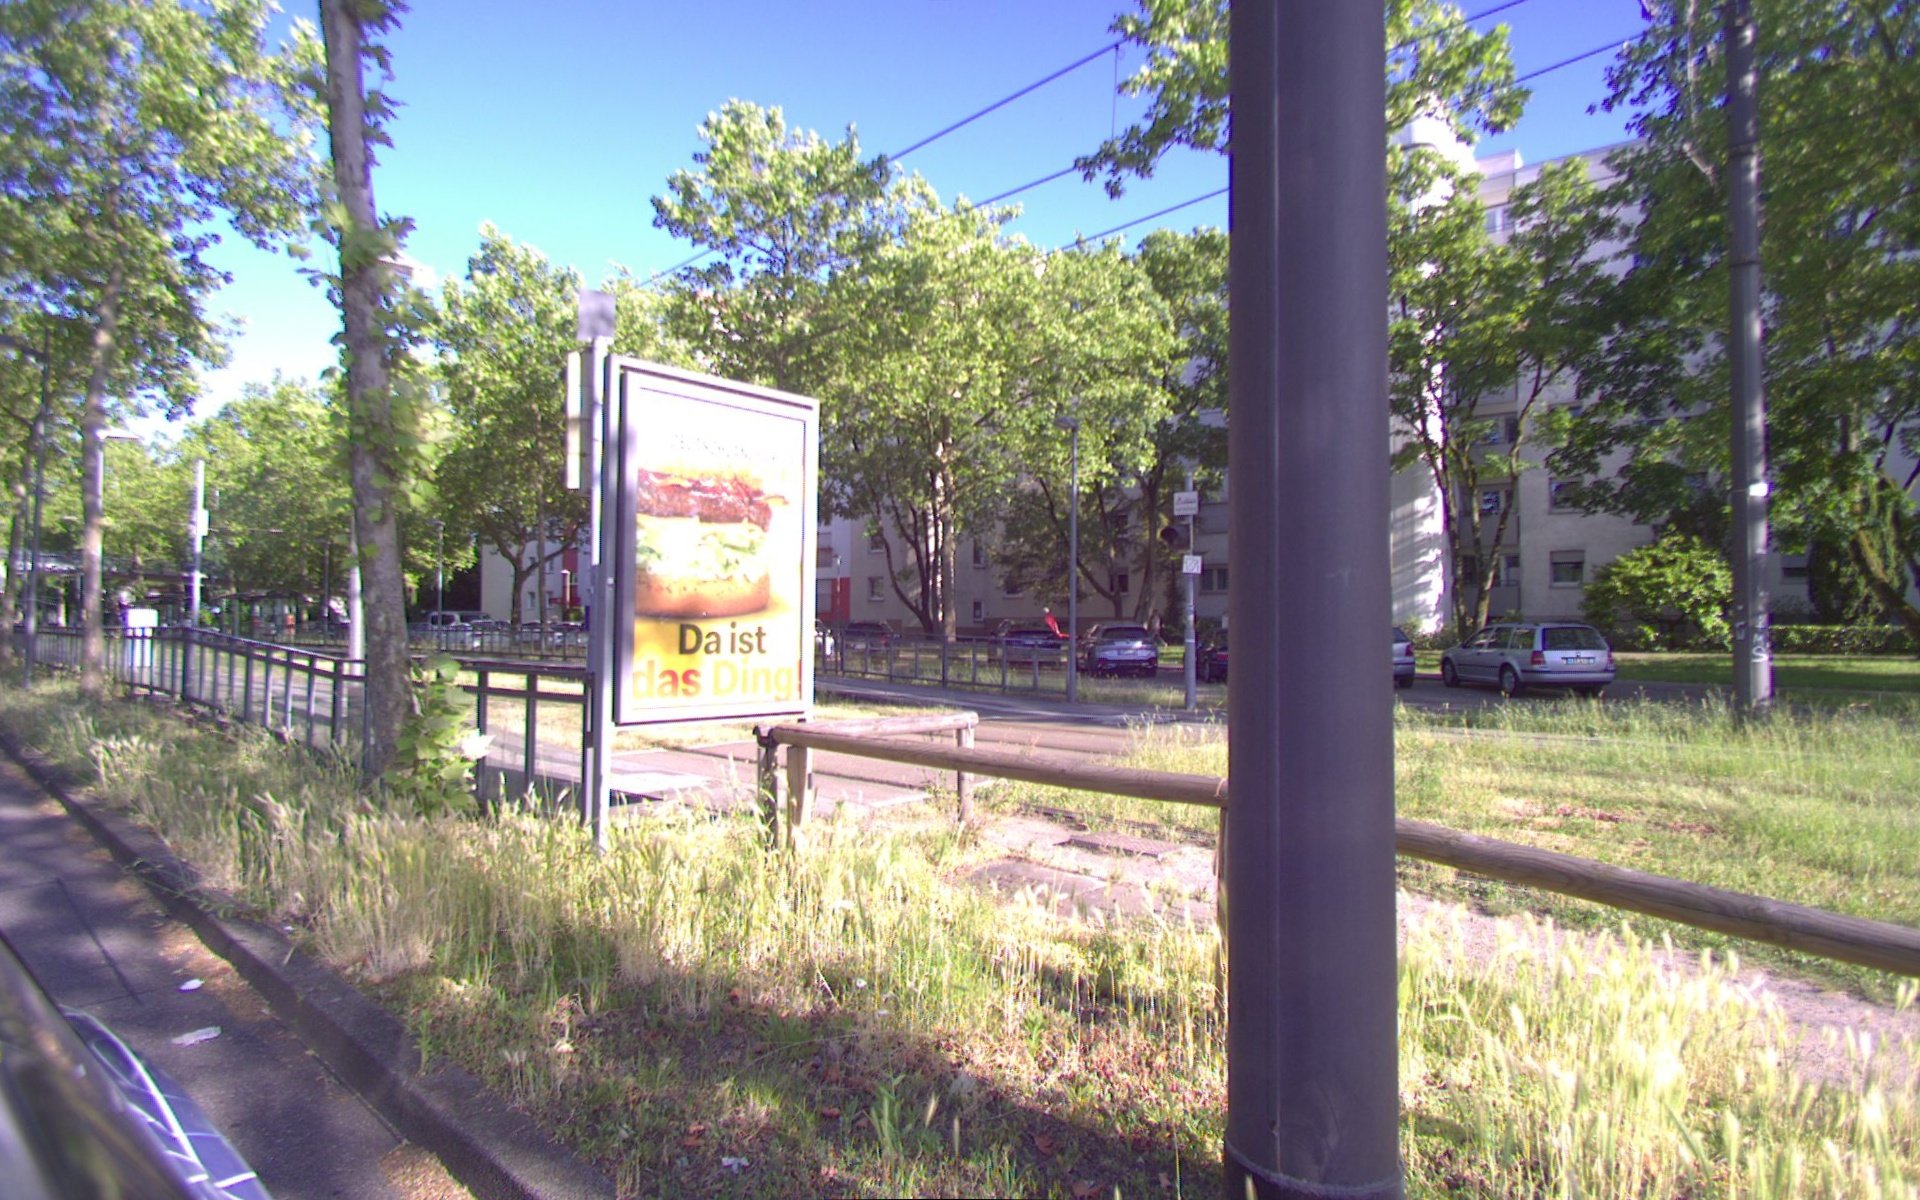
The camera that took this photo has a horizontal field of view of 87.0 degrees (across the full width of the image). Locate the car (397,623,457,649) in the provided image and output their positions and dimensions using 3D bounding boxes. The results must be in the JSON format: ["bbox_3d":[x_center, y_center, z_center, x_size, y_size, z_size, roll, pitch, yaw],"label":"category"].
[{"bbox_3d":[-31.314,2.078,59.600,1.633,1.452,3.805,-1,-1,-2],"label":"car"}]

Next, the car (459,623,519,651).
[{"bbox_3d":[-25.853,1.995,55.661,1.633,1.452,3.805,-1,-1,-2],"label":"car"}]

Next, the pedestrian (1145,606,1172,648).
[{"bbox_3d":[7.803,1.052,39.781,0.786,1.635,0.755,-1,0,39],"label":"pedestrian"}]

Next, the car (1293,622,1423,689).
[{"bbox_3d":[9.160,1.235,23.591,1.559,1.413,3.638,-1,-1,0],"label":"car"}]

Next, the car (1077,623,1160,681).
[{"bbox_3d":[4.235,1.361,27.519,1.633,1.413,3.803,-1,-1,0],"label":"car"}]

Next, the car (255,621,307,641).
[{"bbox_3d":[-53.032,2.397,79.154,1.633,1.452,3.805,-1,-1,-2],"label":"car"}]

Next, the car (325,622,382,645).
[{"bbox_3d":[-40.820,2.222,68.192,1.633,1.452,3.805,-1,-1,-2],"label":"car"}]

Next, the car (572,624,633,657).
[{"bbox_3d":[-16.609,1.851,47.160,1.633,1.452,3.805,-1,-1,-2],"label":"car"}]

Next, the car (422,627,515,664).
[{"bbox_3d":[-21.268,1.933,43.714,4.632,1.522,1.637,-1,-1,35],"label":"car"}]

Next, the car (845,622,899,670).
[{"bbox_3d":[-2.958,1.523,34.649,1.633,1.522,3.805,-1,-1,-2],"label":"car"}]

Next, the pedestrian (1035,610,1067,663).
[{"bbox_3d":[3.103,1.216,34.343,0.786,1.745,0.755,-1,0,39],"label":"pedestrian"}]

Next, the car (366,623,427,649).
[{"bbox_3d":[-33.676,2.109,60.603,1.633,1.452,3.805,-1,-1,-2],"label":"car"}]

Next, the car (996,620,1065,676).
[{"bbox_3d":[2.001,1.351,29.667,1.633,1.522,3.805,-1,-1,-2],"label":"car"}]

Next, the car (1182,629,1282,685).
[{"bbox_3d":[6.692,1.374,25.277,1.445,1.234,3.815,-1,-1,0],"label":"car"}]

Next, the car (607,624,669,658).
[{"bbox_3d":[-14.046,1.761,44.337,1.633,1.366,3.805,-1,-1,-2],"label":"car"}]

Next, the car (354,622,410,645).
[{"bbox_3d":[-37.867,2.168,66.379,1.633,1.452,3.805,-1,-1,-2],"label":"car"}]

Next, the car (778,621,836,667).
[{"bbox_3d":[-5.548,1.565,37.018,1.633,1.522,3.805,-1,-1,-2],"label":"car"}]

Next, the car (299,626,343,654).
[{"bbox_3d":[-37.144,2.284,58.798,2.817,1.569,1.558,-2,-1,44],"label":"car"}]

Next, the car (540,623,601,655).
[{"bbox_3d":[-19.028,1.893,49.540,1.633,1.452,3.805,-1,-1,-2],"label":"car"}]

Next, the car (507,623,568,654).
[{"bbox_3d":[-21.319,1.935,51.184,1.633,1.452,3.805,-1,-1,-2],"label":"car"}]

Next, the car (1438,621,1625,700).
[{"bbox_3d":[11.491,1.158,20.665,1.559,1.413,3.906,-1,-1,0],"label":"car"}]

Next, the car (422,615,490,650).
[{"bbox_3d":[-28.435,1.820,57.255,1.814,1.888,4.323,-1,-1,-2],"label":"car"}]
